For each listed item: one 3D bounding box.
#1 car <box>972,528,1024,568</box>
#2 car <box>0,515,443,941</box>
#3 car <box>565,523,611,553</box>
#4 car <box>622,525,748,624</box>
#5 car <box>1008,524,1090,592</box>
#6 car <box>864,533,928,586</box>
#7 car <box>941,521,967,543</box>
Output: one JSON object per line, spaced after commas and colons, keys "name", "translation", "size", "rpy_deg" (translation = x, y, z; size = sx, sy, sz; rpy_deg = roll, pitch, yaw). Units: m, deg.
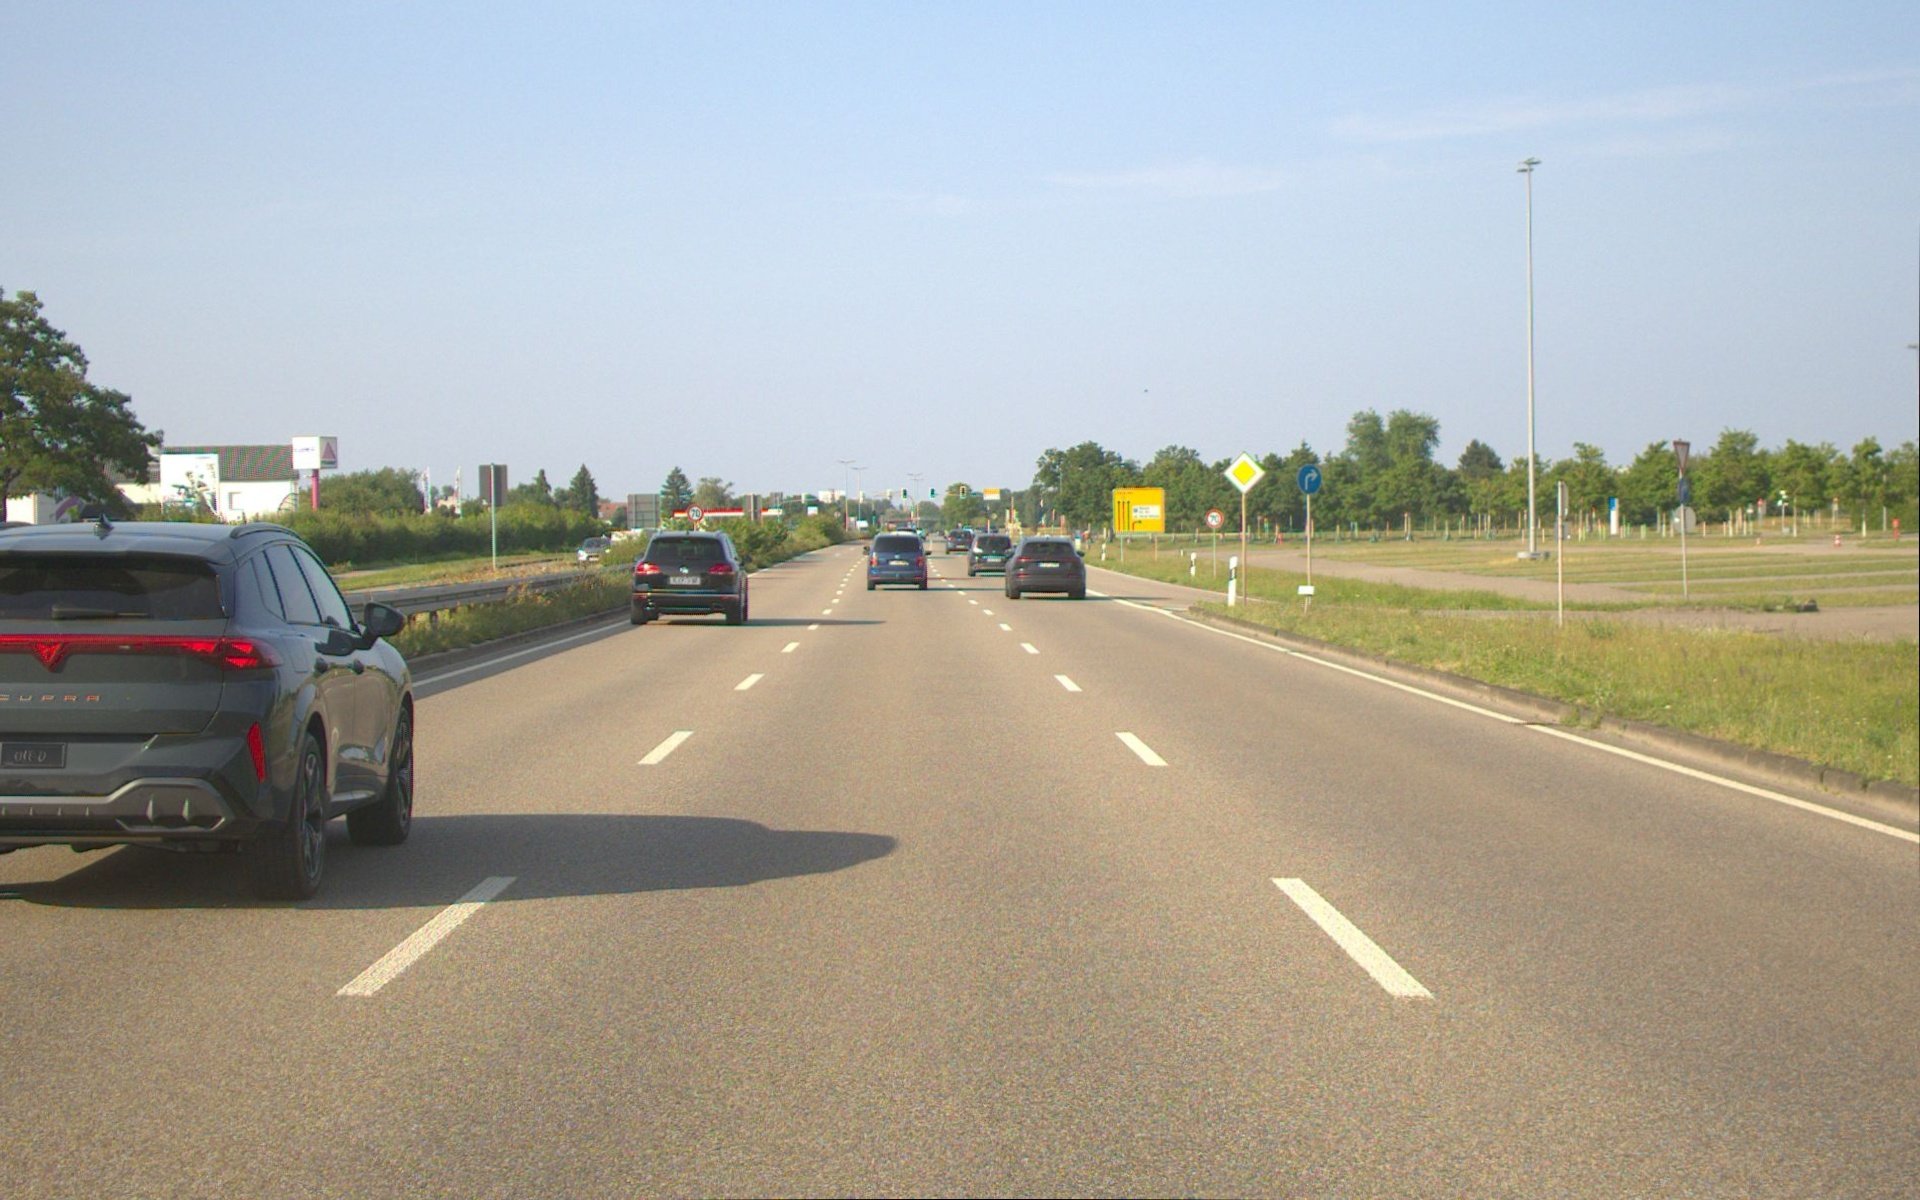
{"name": "car", "translation": [1.425, -1.993, 130.915], "size": [1.873, 1.458, 3.981], "rpy_deg": [2, 1, -1]}
{"name": "car", "translation": [-3.592, 0.444, 15.515], "size": [1.845, 1.606, 4.401], "rpy_deg": [2, 1, -1]}
{"name": "car", "translation": [-18.066, -3.031, 166.994], "size": [1.779, 1.420, 4.000], "rpy_deg": [-1, 1, 0]}
{"name": "car", "translation": [-4.935, -0.498, 62.192], "size": [1.932, 1.674, 4.401], "rpy_deg": [2, 1, -1]}
{"name": "car", "translation": [2.285, -1.112, 89.479], "size": [1.932, 1.674, 4.401], "rpy_deg": [2, 1, -1]}
{"name": "car", "translation": [-1.871, -1.210, 101.958], "size": [1.812, 1.458, 4.401], "rpy_deg": [2, 1, -1]}
{"name": "car", "translation": [-0.341, -4.067, 205.272], "size": [1.503, 1.309, 3.156], "rpy_deg": [2, 1, -1]}
